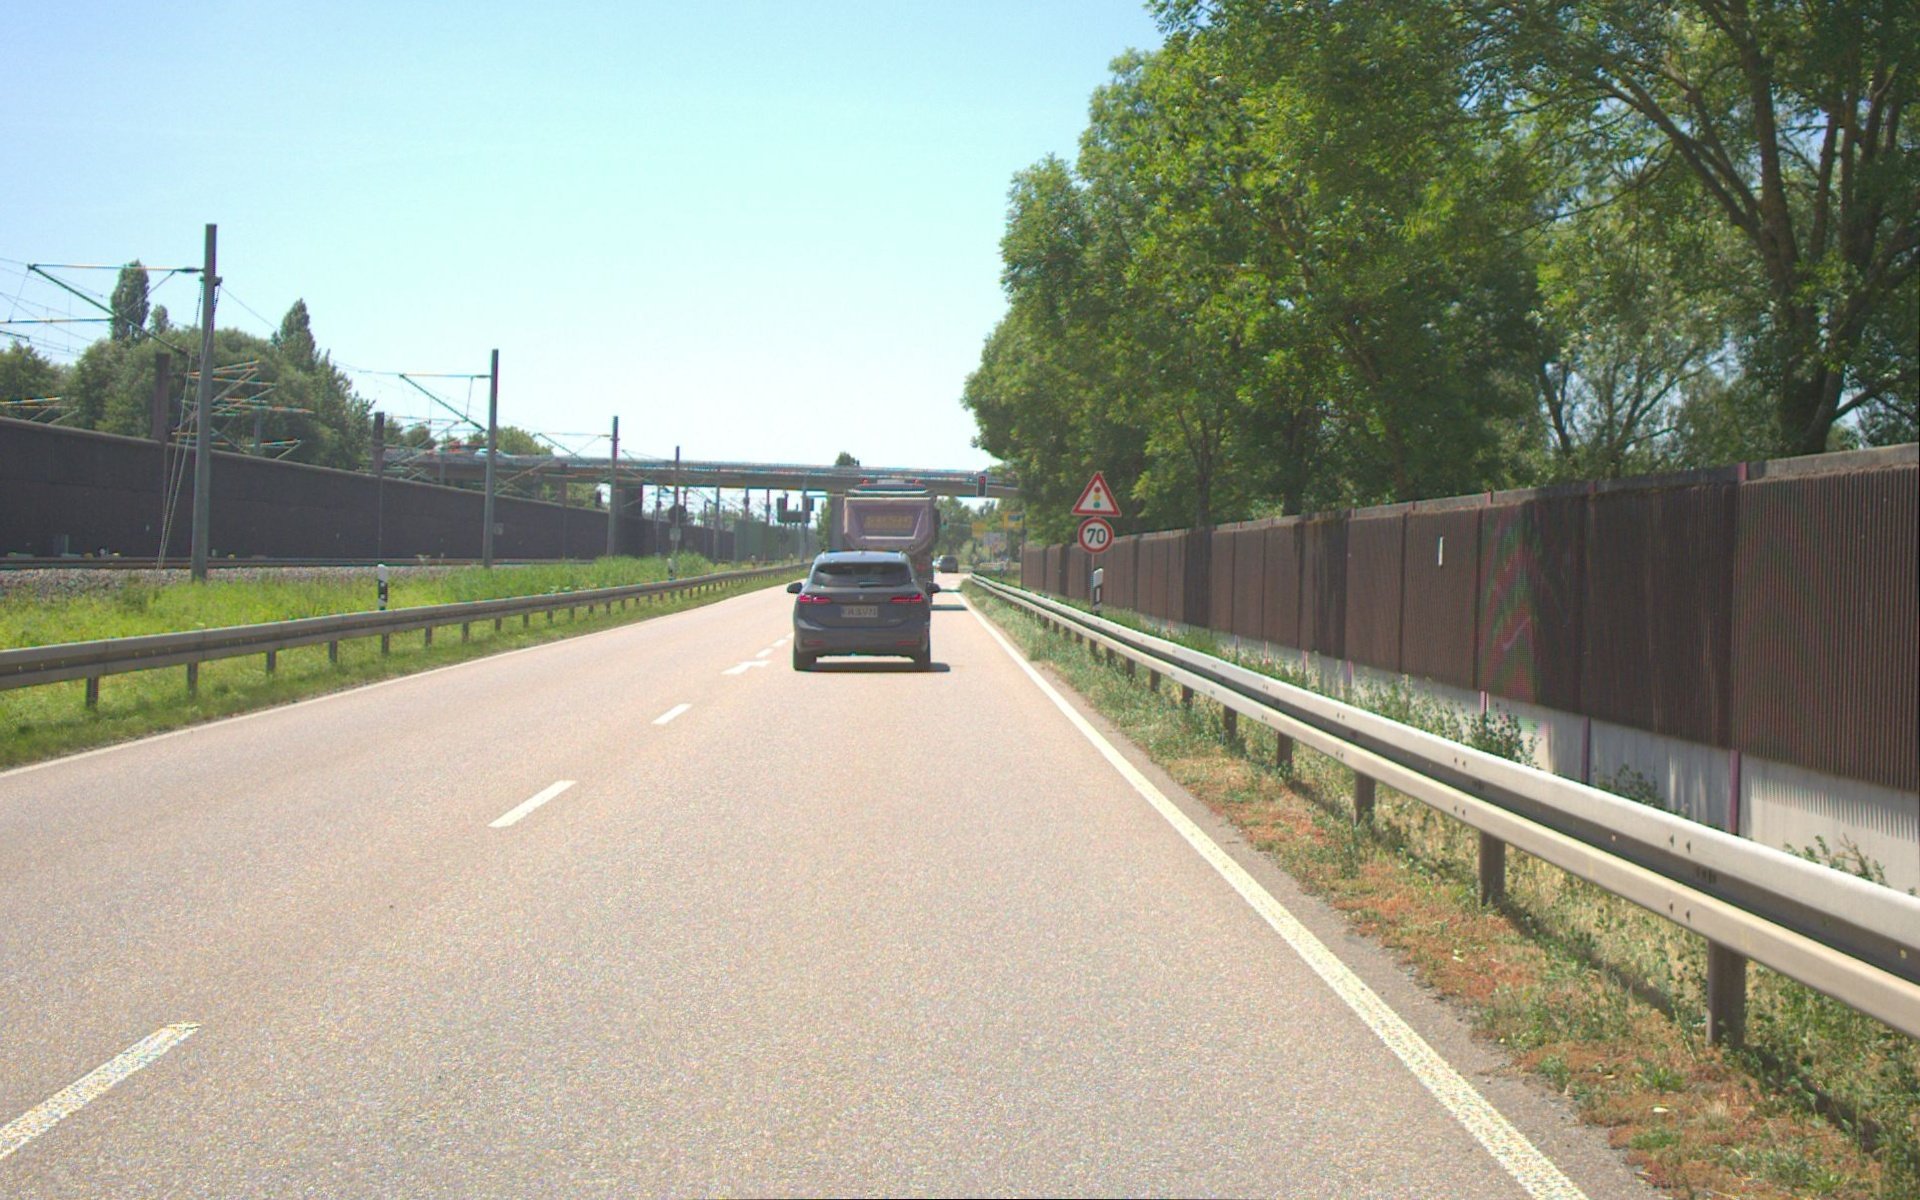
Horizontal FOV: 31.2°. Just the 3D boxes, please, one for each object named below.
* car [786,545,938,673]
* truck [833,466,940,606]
[{"bbox_3d":[-1.272,0.093,46.325,1.845,1.617,4.226,1,1,1],"label":"car"},{"bbox_3d":[-2.046,-1.817,100.073,2.833,3.808,11.885,1,1,0],"label":"truck"}]
